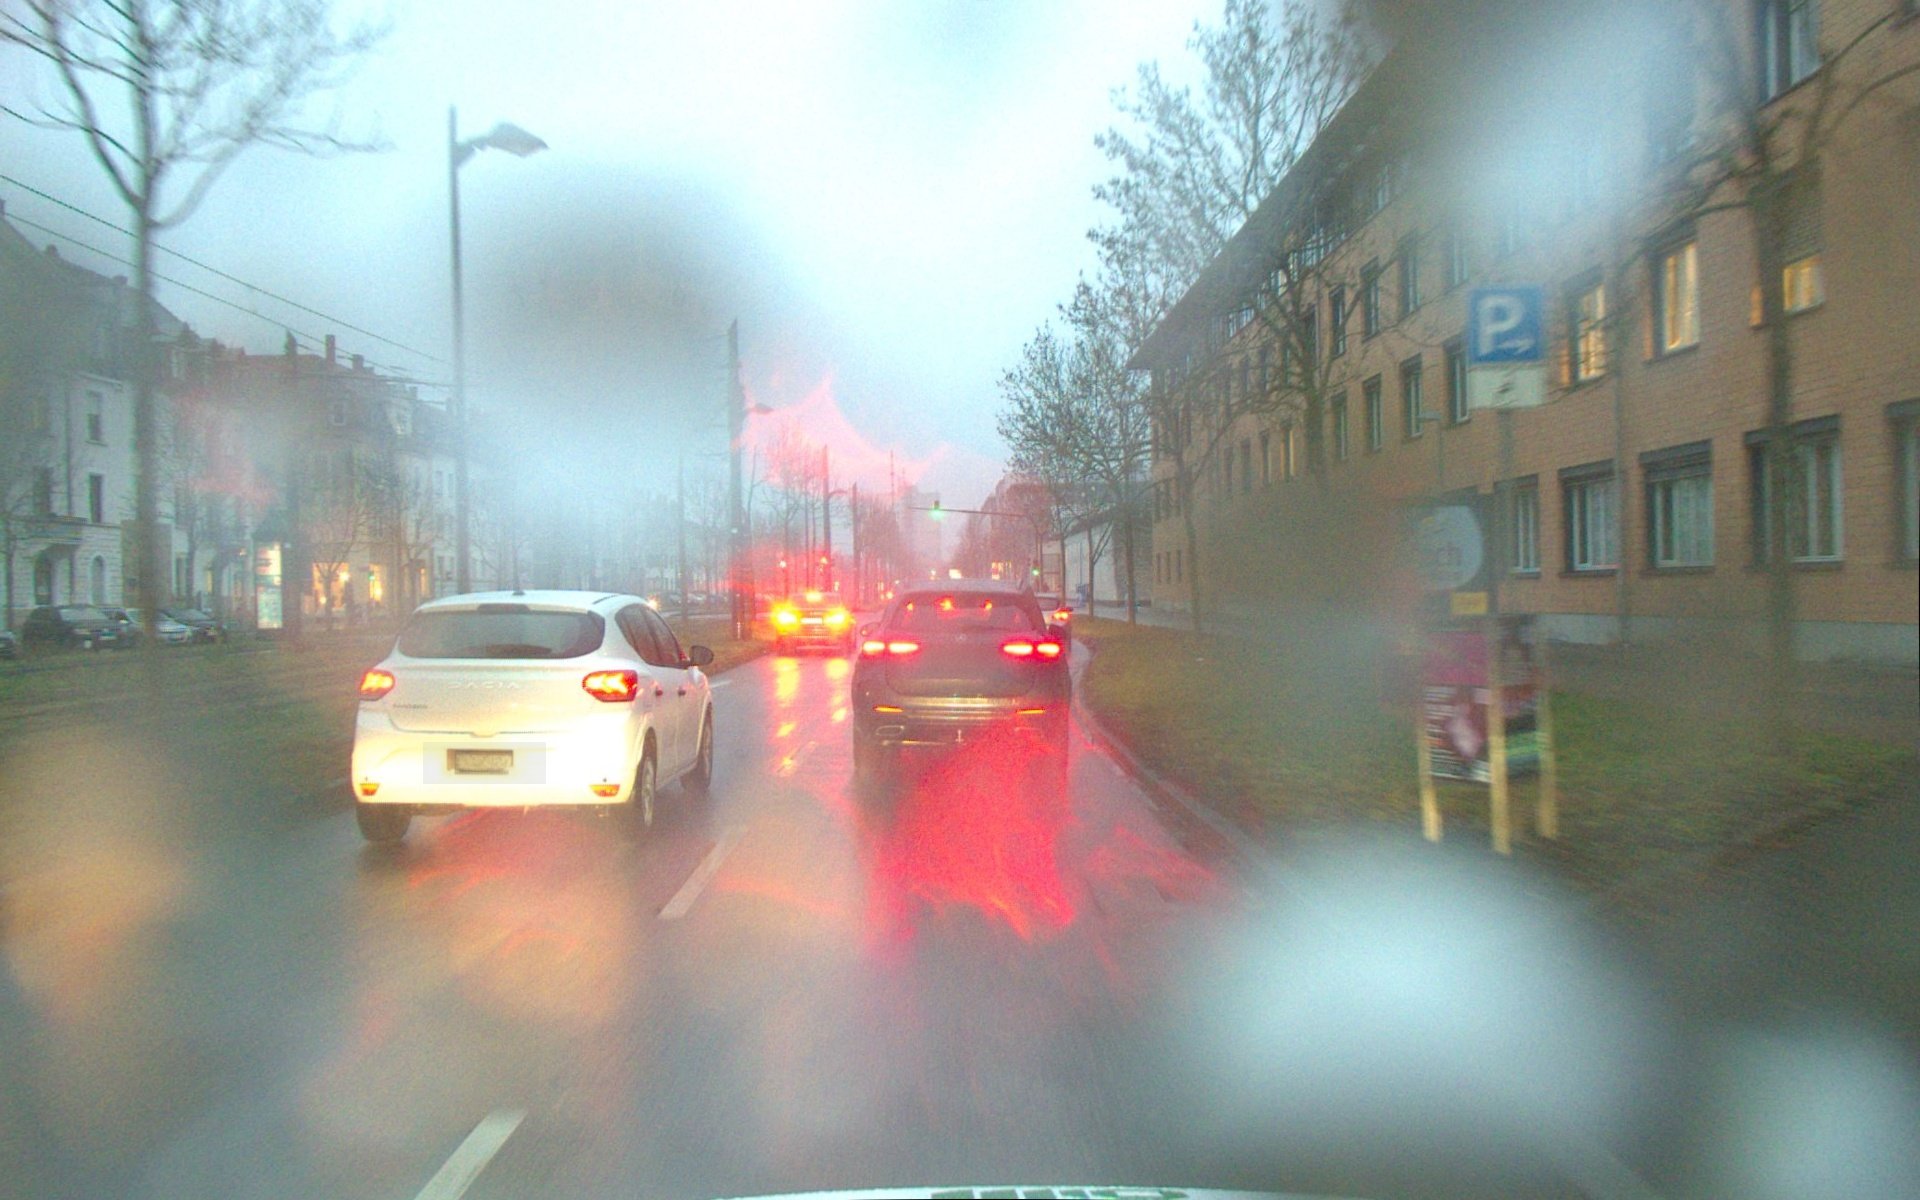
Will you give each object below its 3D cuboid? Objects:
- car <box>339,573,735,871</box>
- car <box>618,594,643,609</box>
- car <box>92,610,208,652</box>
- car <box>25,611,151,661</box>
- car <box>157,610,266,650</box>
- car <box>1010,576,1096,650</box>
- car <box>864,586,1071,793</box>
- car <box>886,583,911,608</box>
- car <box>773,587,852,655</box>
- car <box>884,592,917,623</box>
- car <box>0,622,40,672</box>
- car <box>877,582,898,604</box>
[{"bbox_3d":[-2.590,0.660,11.081,1.638,1.628,4.053,0,0,-1],"label":"car"},{"bbox_3d":[-32.452,0.098,162.937,1.740,1.377,3.556,-2,1,-2],"label":"car"},{"bbox_3d":[-27.844,1.073,56.831,3.921,1.355,1.992,-1,0,37],"label":"car"},{"bbox_3d":[-28.342,1.164,53.724,3.917,1.512,1.994,-2,0,34],"label":"car"},{"bbox_3d":[-27.343,1.085,60.366,3.921,1.355,1.992,-1,0,37],"label":"car"},{"bbox_3d":[2.363,0.316,42.950,1.953,1.774,4.000,-1,0,-1],"label":"car"},{"bbox_3d":[0.042,0.698,15.092,1.638,1.628,4.053,0,0,-1],"label":"car"},{"bbox_3d":[-4.980,-0.358,134.796,1.954,1.948,3.998,-2,0,-2],"label":"car"},{"bbox_3d":[-3.636,0.488,41.396,1.638,1.628,4.053,0,0,-1],"label":"car"},{"bbox_3d":[-3.732,0.480,104.422,1.901,1.870,4.000,-1,0,0],"label":"car"},{"bbox_3d":[-28.211,1.348,47.193,3.921,1.355,1.992,-1,0,37],"label":"car"},{"bbox_3d":[-7.018,-0.640,159.613,1.779,2.049,4.000,-1,0,0],"label":"car"}]
